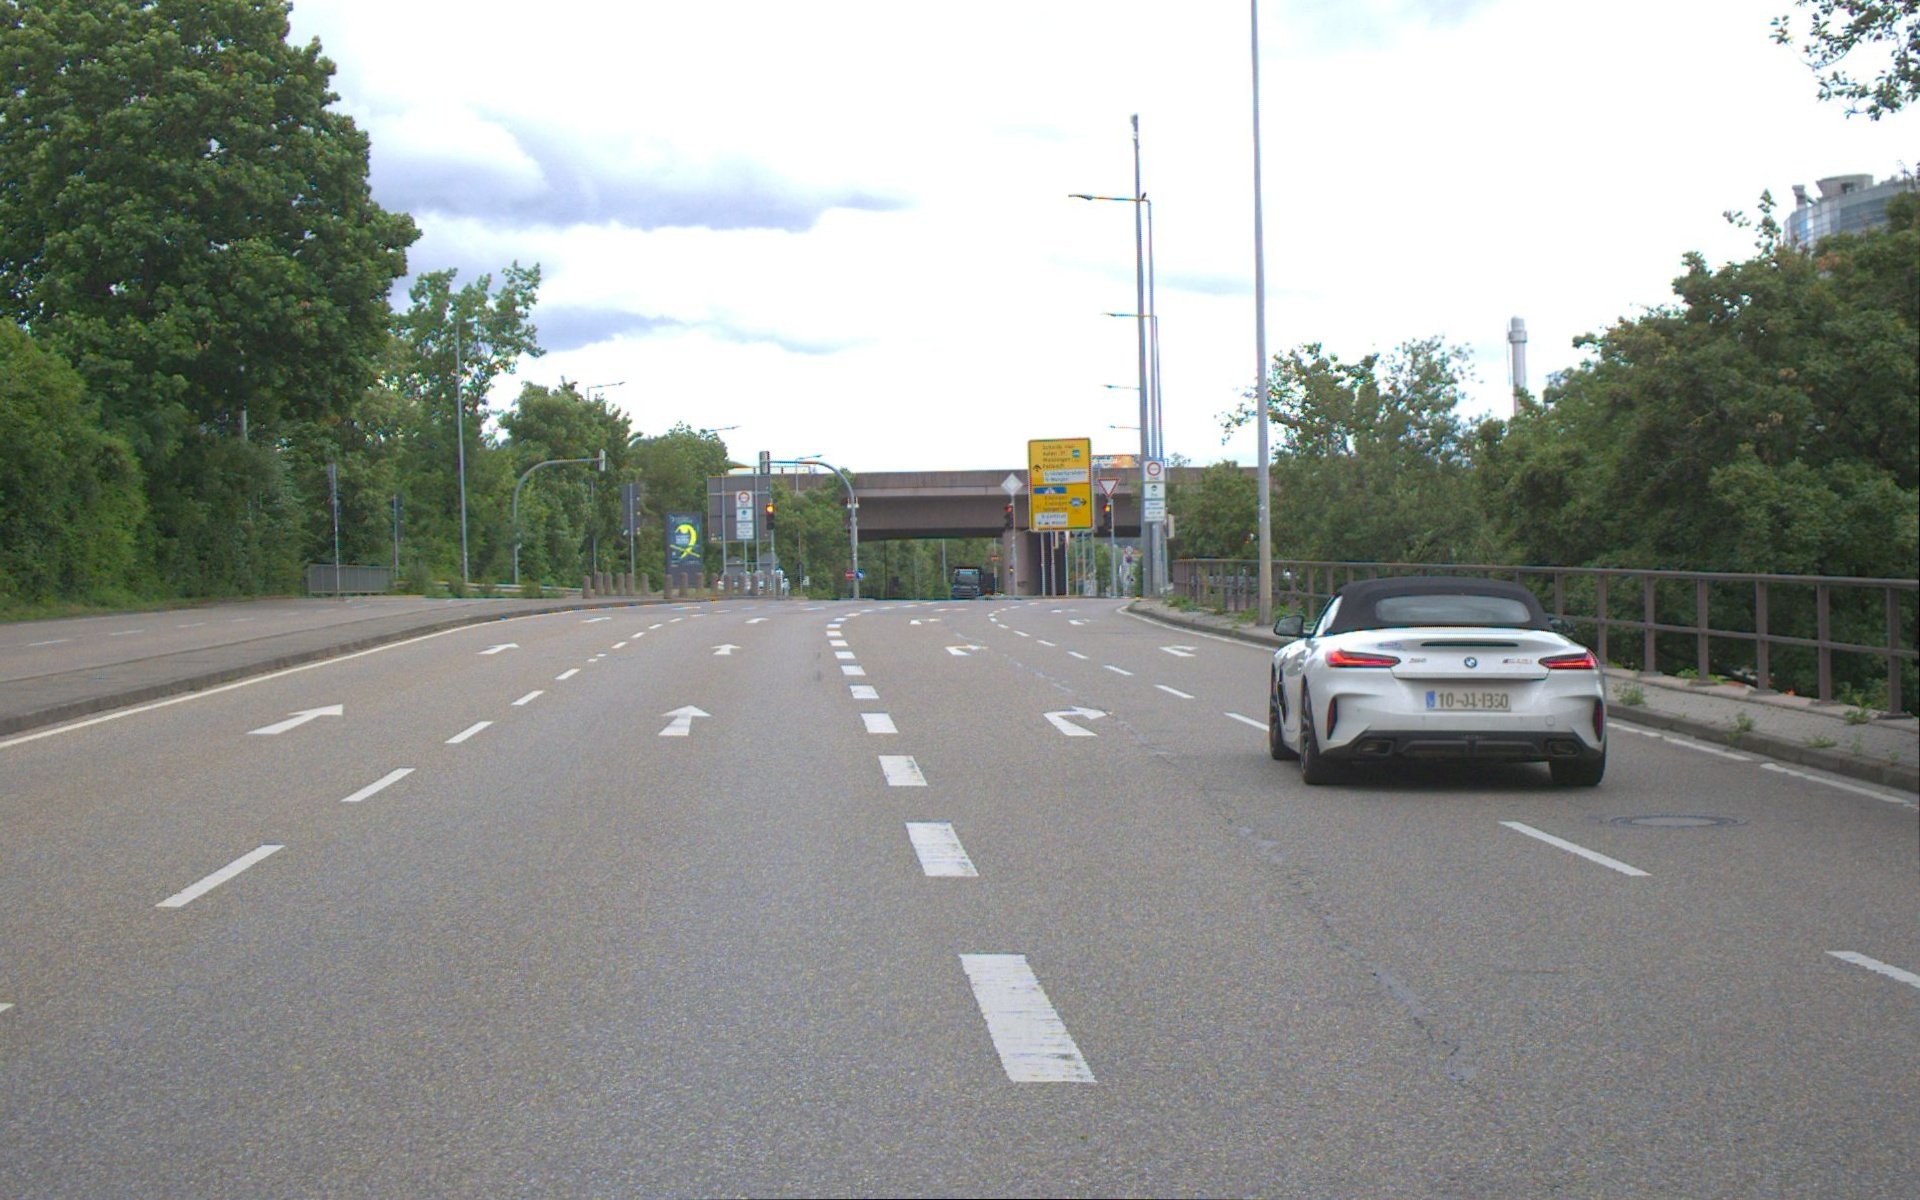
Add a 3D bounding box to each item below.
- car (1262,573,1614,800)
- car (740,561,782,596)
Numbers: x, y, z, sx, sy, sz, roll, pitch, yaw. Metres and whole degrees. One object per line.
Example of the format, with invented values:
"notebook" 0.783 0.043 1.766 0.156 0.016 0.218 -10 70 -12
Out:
"car" 3.039 0.503 22.570 1.875 1.305 3.873 1 1 2
"car" -9.574 -1.022 165.675 1.771 1.627 3.825 1 0 0
